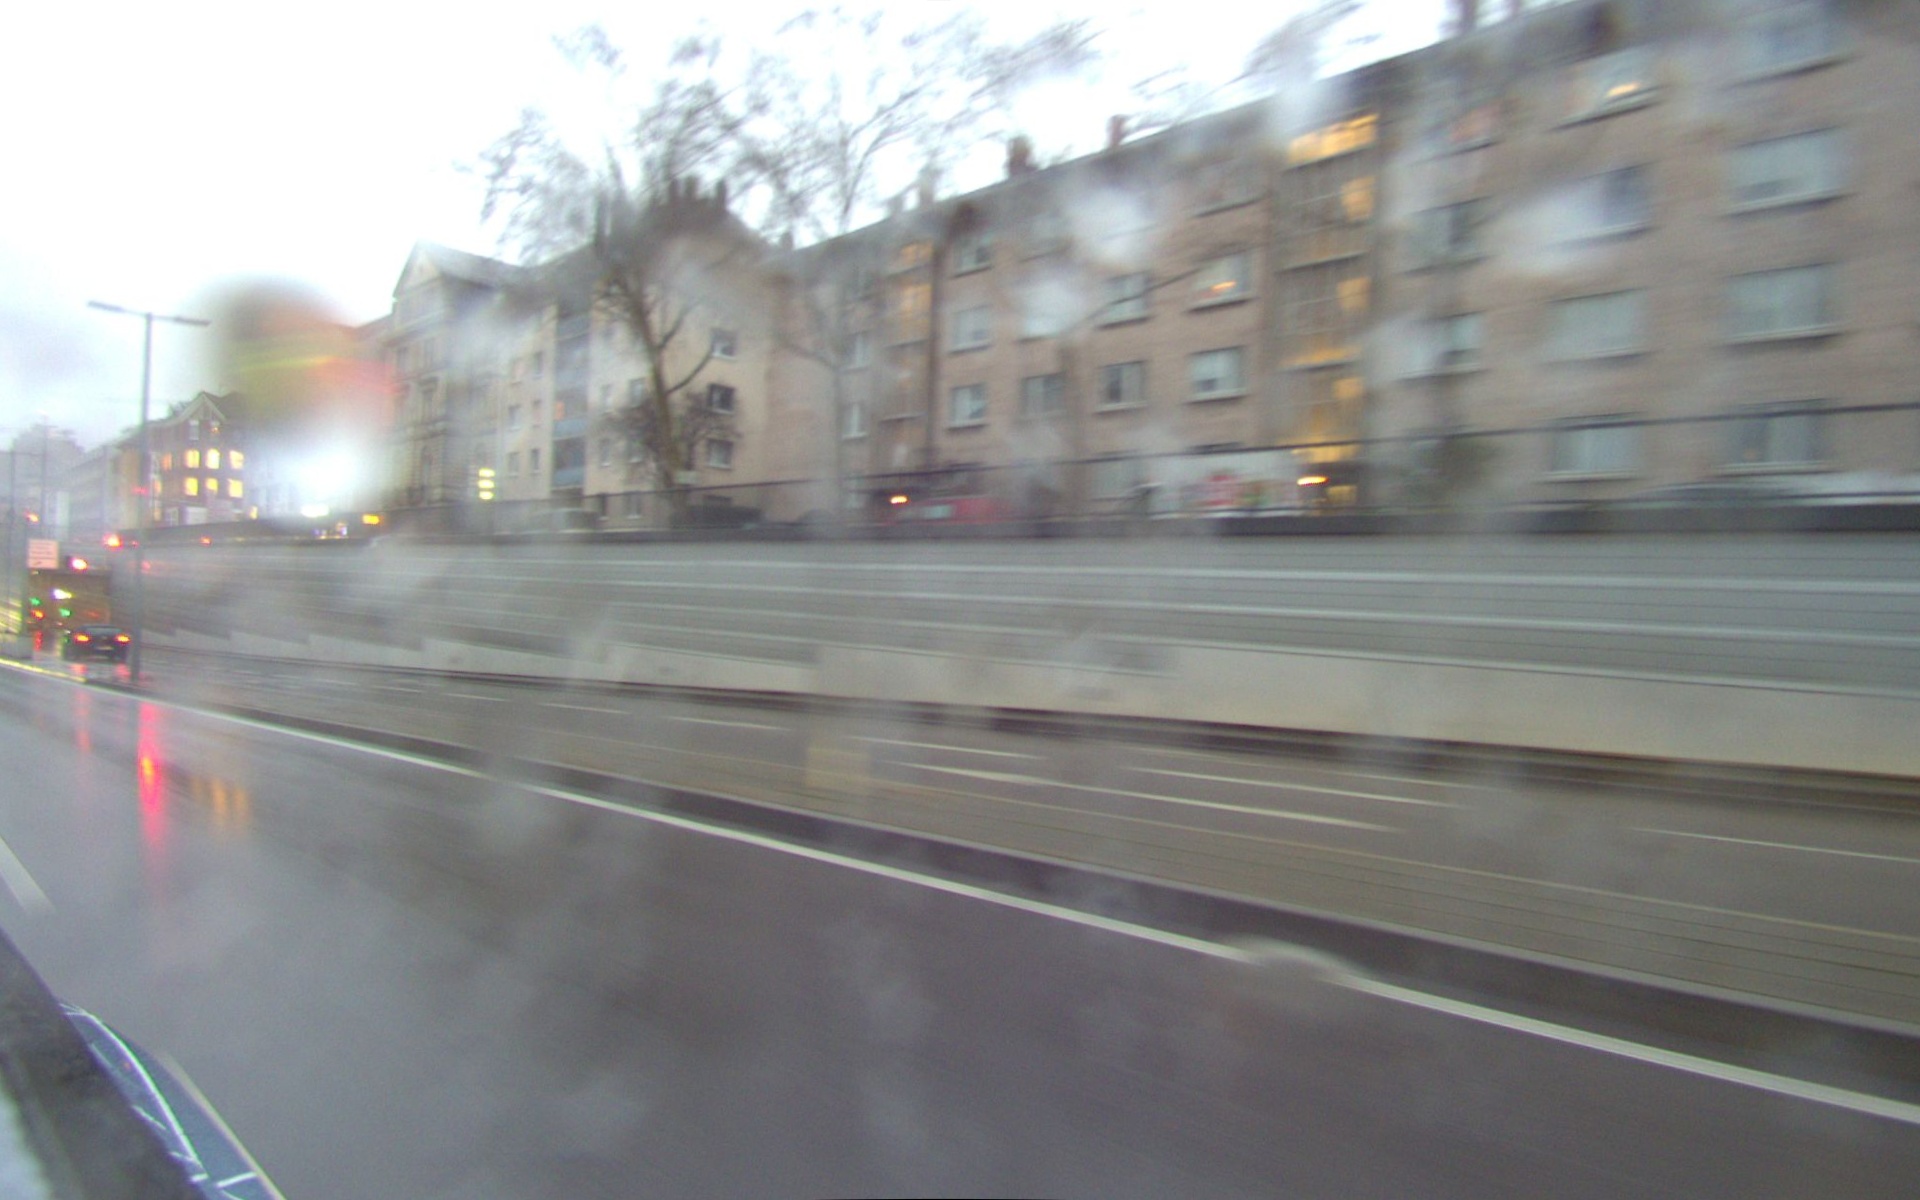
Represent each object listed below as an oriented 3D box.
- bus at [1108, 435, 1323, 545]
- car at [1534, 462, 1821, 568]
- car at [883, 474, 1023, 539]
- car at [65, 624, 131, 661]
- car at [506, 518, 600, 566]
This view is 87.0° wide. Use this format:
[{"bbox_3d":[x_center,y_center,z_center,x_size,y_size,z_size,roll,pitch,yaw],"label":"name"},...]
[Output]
[{"bbox_3d":[5.333,-2.222,21.449,4.065,1.884,1.676,1,-2,43],"label":"bus"},{"bbox_3d":[12.229,-1.365,17.396,3.876,1.484,1.549,1,-2,41],"label":"car"},{"bbox_3d":[-0.235,-2.575,28.606,3.877,1.484,1.548,1,-2,42],"label":"car"},{"bbox_3d":[-36.189,1.773,42.471,3.685,1.482,1.555,-2,-2,41],"label":"car"},{"bbox_3d":[-13.885,-1.946,34.435,3.405,1.408,1.548,1,-2,42],"label":"car"}]
